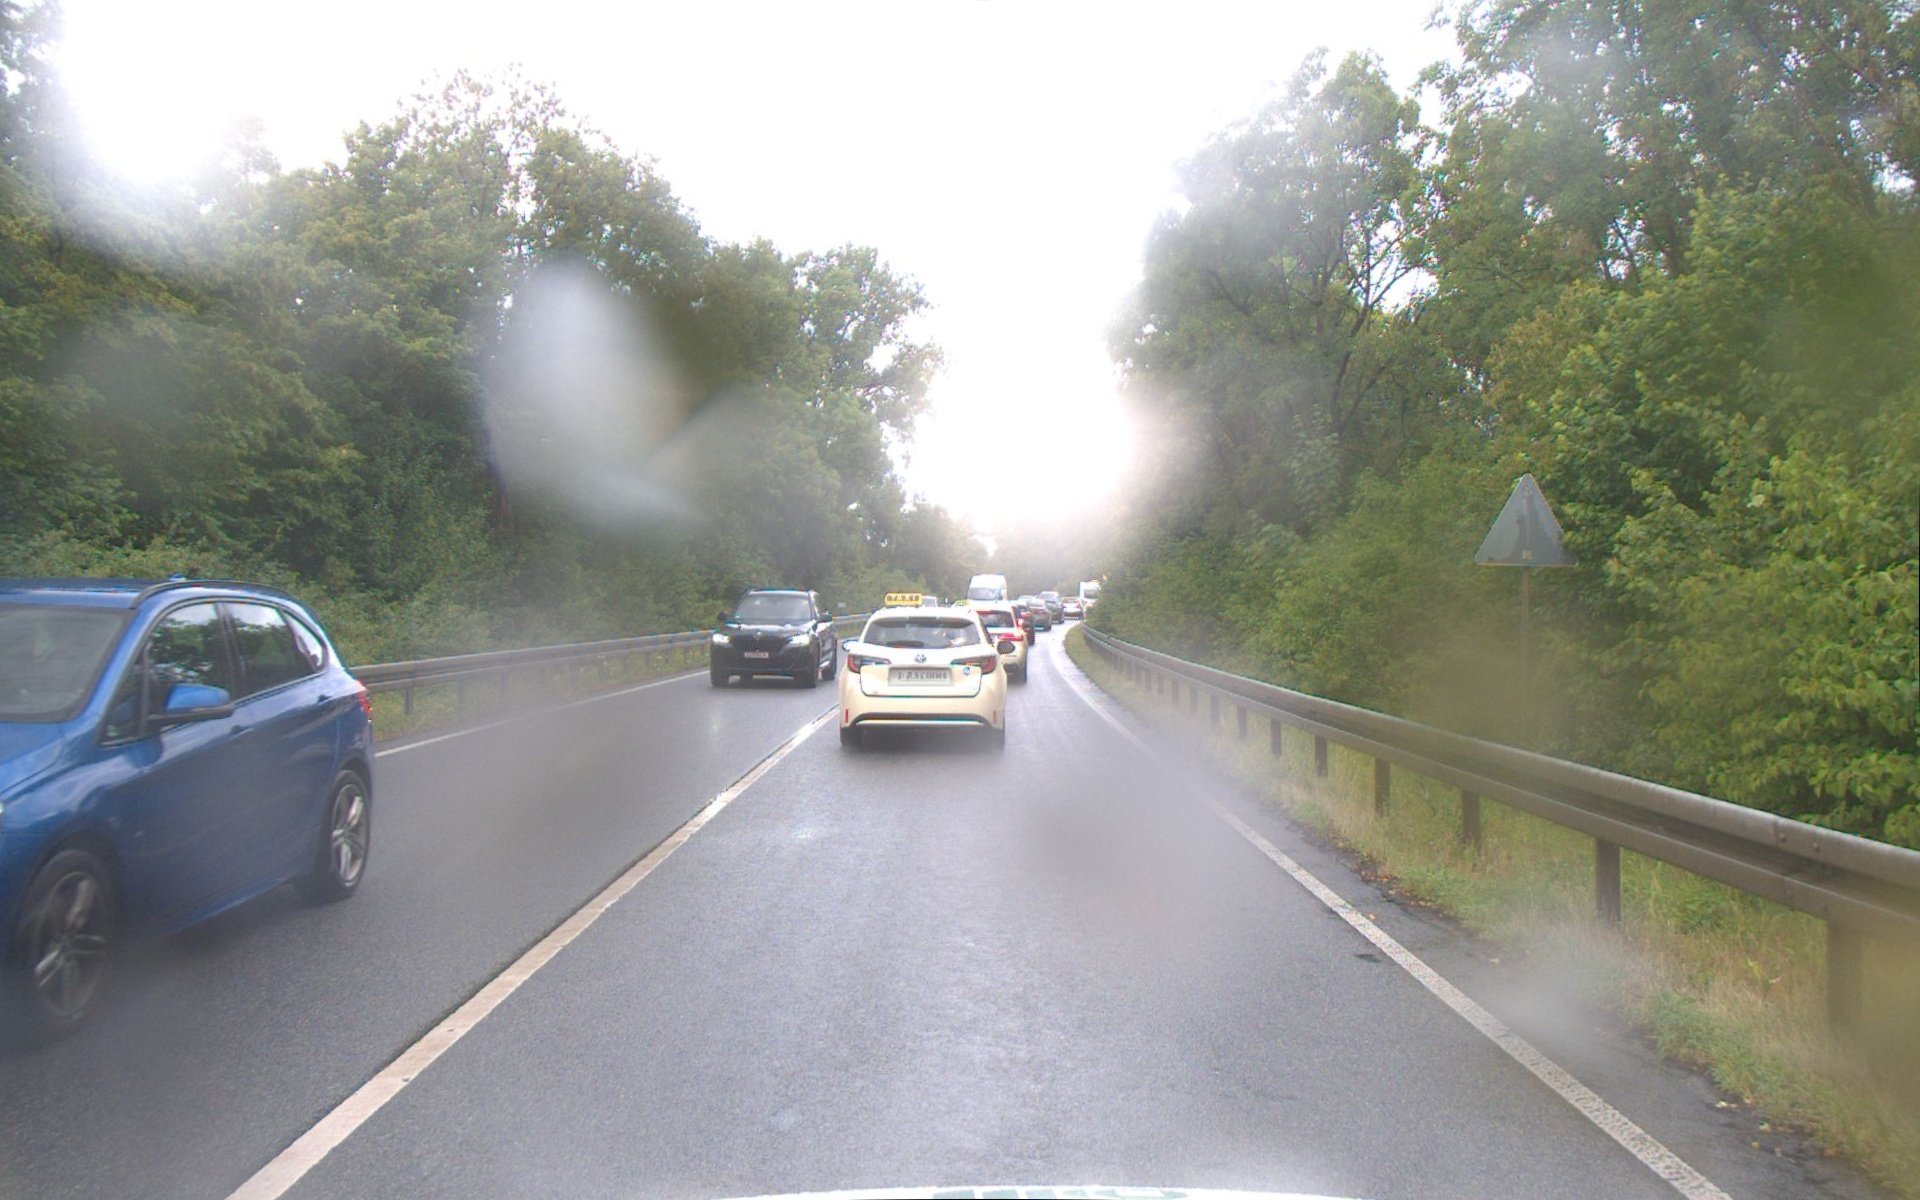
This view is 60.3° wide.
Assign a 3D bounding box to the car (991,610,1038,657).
[{"bbox_3d":[1.899,1.164,58.076,1.578,1.574,3.814,0,-1,1],"label":"car"}]

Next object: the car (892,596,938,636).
[{"bbox_3d":[-1.838,0.631,68.758,1.656,1.583,4.443,1,0,1],"label":"car"}]

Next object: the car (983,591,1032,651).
[{"bbox_3d":[1.279,0.577,45.279,1.274,1.574,3.260,1,-1,1],"label":"car"}]

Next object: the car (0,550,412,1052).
[{"bbox_3d":[-3.761,0.624,6.771,1.672,1.542,3.912,1,-1,0],"label":"car"}]

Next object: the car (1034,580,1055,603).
[{"bbox_3d":[8.018,-0.798,156.922,1.952,2.049,4.001,1,-1,3],"label":"car"}]

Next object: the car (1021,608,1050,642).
[{"bbox_3d":[3.584,1.178,78.379,1.142,1.574,2.606,1,-1,7],"label":"car"}]

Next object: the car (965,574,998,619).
[{"bbox_3d":[1.357,-0.160,103.083,2.005,2.723,6.172,0,-1,1],"label":"car"}]

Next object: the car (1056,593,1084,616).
[{"bbox_3d":[7.760,0.319,116.490,1.732,1.574,3.816,1,-1,7],"label":"car"}]

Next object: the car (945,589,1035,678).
[{"bbox_3d":[0.587,0.645,32.544,1.633,1.608,3.892,1,-1,1],"label":"car"}]

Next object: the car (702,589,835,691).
[{"bbox_3d":[-3.355,0.666,29.746,1.809,1.672,4.298,1,0,1],"label":"car"}]

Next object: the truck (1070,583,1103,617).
[{"bbox_3d":[10.606,0.050,138.869,2.496,2.760,7.537,1,-1,2],"label":"truck"}]

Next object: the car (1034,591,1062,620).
[{"bbox_3d":[5.185,0.314,96.903,1.582,1.641,3.623,1,-1,4],"label":"car"}]

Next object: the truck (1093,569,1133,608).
[{"bbox_3d":[15.197,-1.090,164.189,3.041,3.745,7.005,1,-1,13],"label":"truck"}]

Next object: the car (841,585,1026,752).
[{"bbox_3d":[-0.264,0.698,18.365,1.796,1.608,4.156,1,-1,0],"label":"car"}]
